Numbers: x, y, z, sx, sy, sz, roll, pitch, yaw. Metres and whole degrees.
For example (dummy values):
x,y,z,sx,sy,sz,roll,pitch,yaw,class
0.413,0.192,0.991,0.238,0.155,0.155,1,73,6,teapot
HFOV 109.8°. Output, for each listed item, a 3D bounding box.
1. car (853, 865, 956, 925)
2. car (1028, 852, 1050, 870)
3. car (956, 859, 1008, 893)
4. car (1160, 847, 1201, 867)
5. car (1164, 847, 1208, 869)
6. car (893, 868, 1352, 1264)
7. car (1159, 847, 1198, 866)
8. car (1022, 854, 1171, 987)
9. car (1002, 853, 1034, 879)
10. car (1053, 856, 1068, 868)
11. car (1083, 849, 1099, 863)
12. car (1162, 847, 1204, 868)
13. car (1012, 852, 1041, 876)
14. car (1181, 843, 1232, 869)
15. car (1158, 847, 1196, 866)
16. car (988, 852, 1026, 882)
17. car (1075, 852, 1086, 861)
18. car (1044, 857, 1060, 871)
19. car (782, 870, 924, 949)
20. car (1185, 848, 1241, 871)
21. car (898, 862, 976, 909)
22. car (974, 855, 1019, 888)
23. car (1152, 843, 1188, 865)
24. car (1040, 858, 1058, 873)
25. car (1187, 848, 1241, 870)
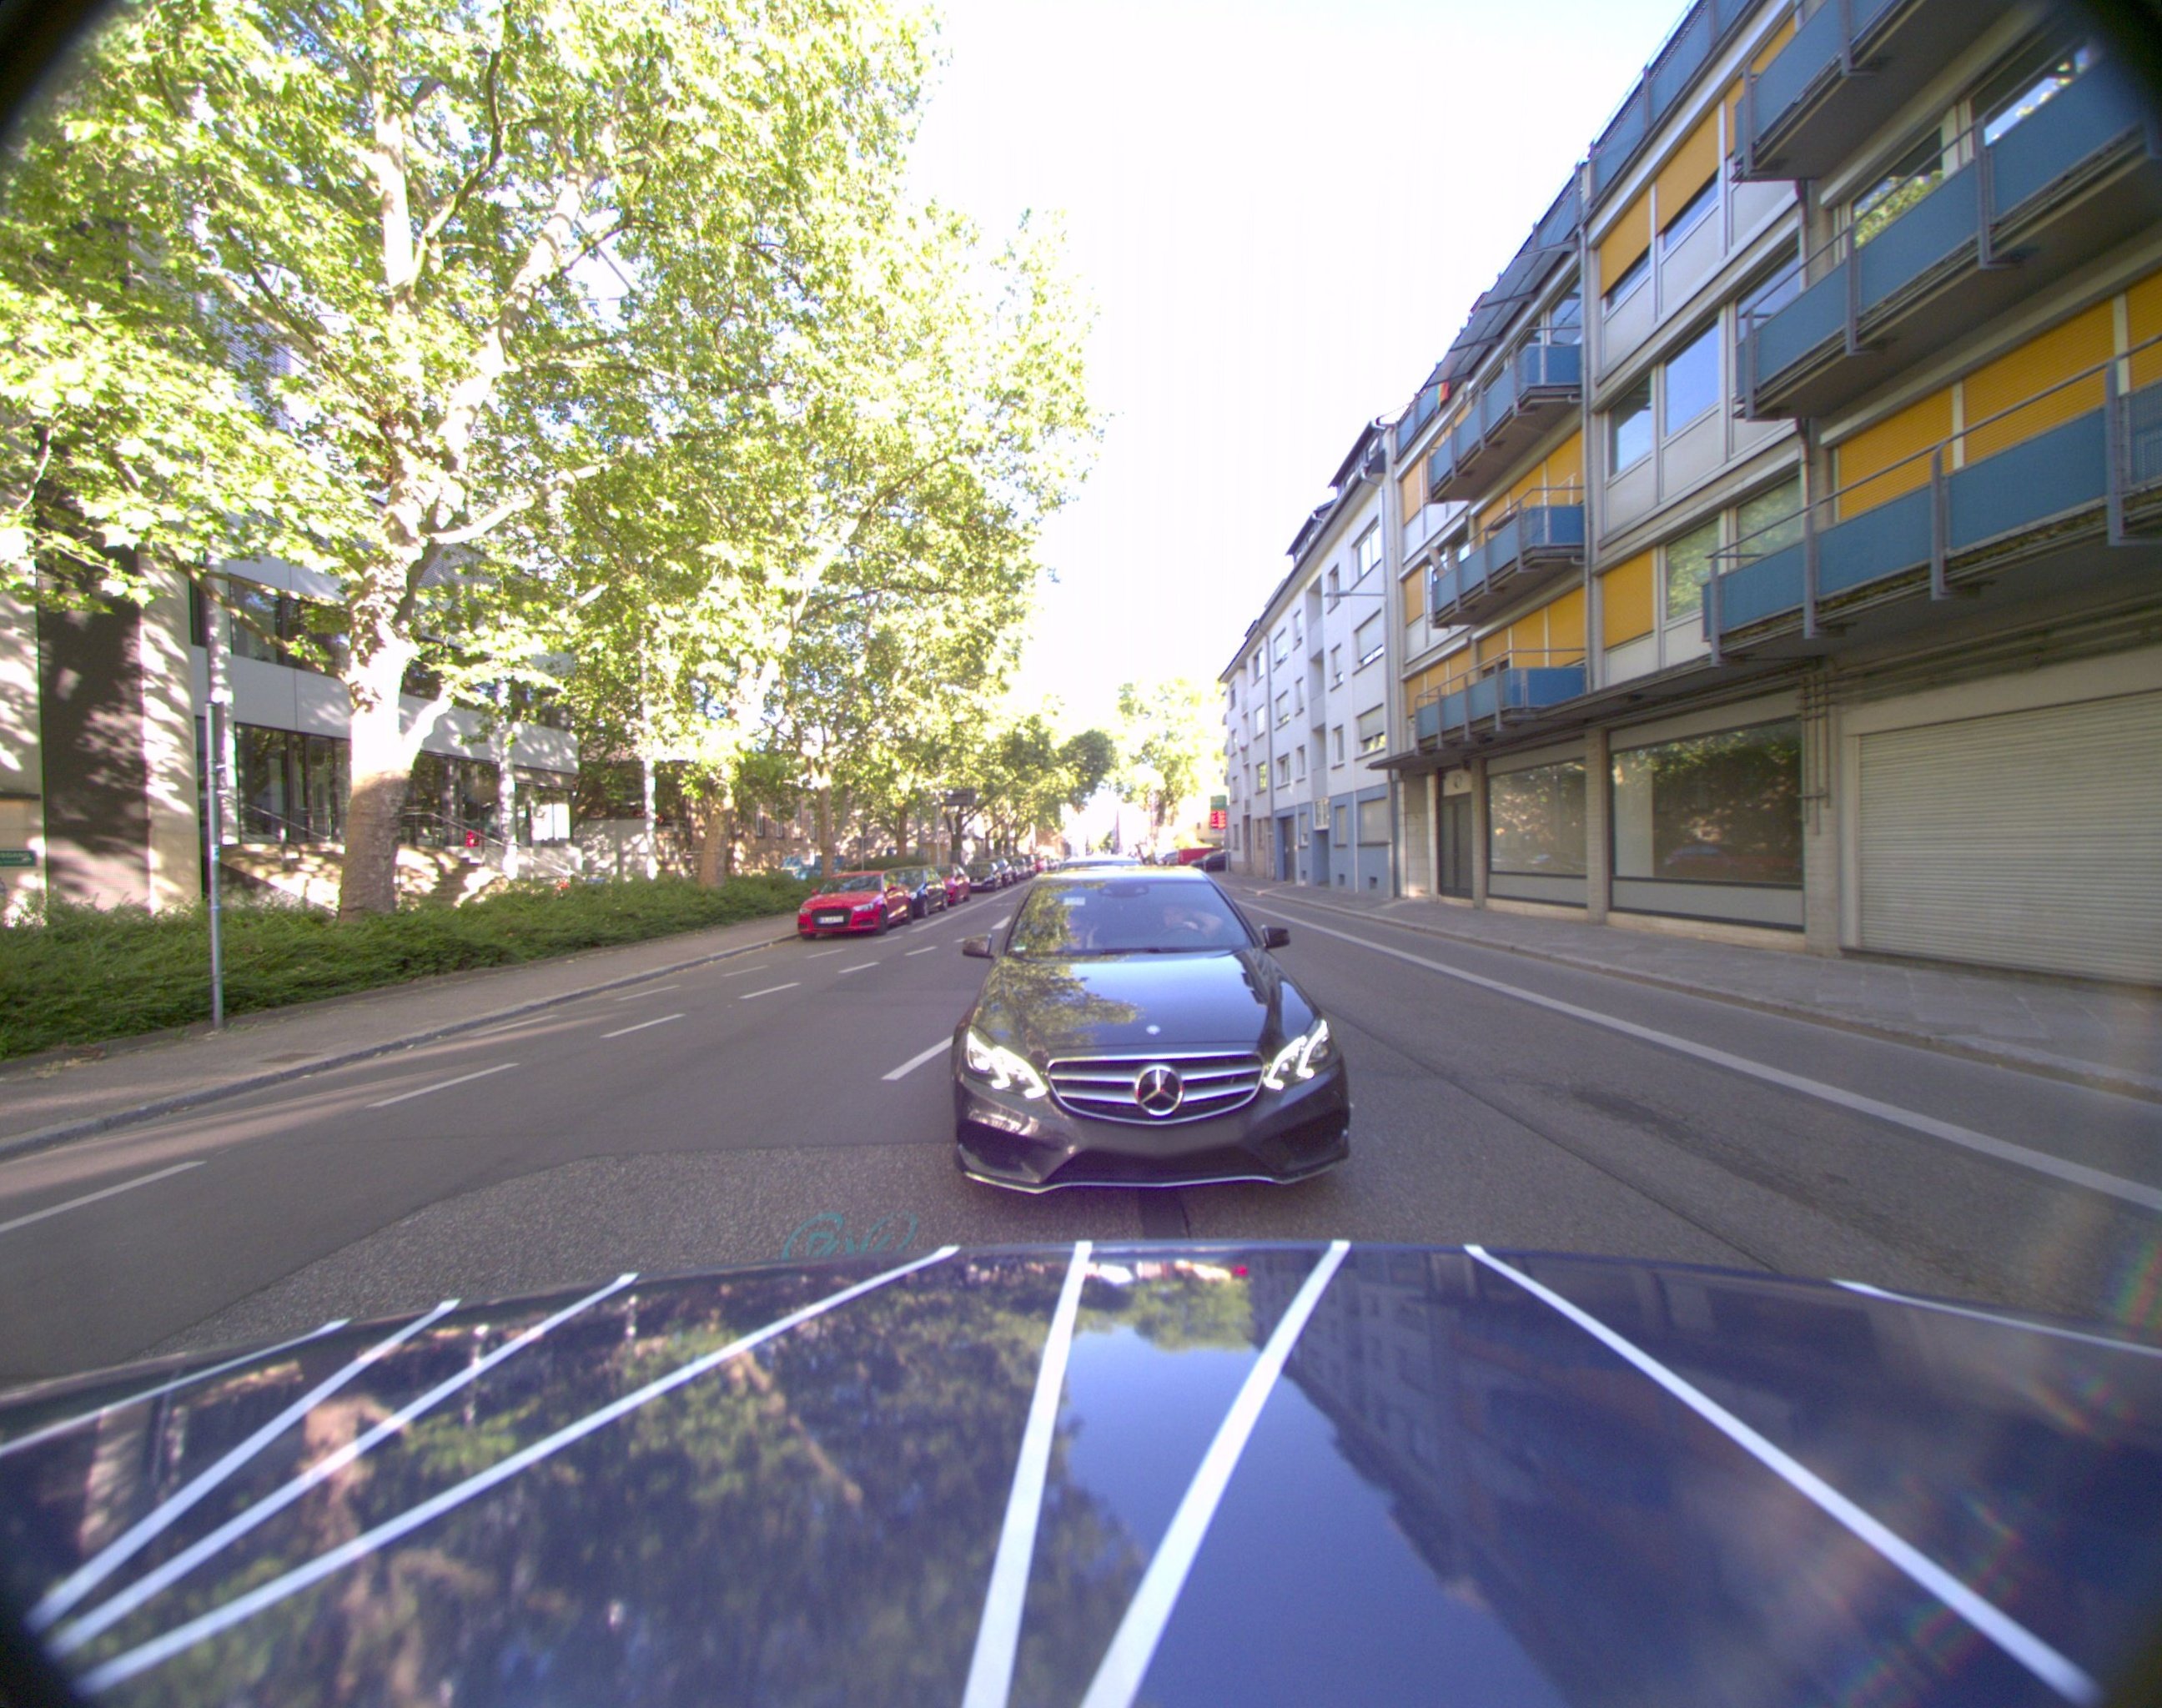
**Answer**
x,y,z,sx,sy,sz,roll,pitch,yaw,class
-5.046,1.122,22.380,1.866,1.442,4.481,-2,0,1,car
-4.204,0.699,76.277,1.866,1.632,4.481,-2,0,1,car
-4.759,1.021,37.171,1.866,1.442,4.481,-2,0,1,car
10.454,0.301,79.997,3.996,1.936,2.000,-2,1,2,car
10.242,0.371,74.504,3.996,1.936,2.000,-2,1,2,car
0.203,0.932,5.406,1.866,1.492,4.481,-2,0,1,car
10.584,0.268,82.485,3.996,1.936,2.000,-2,1,2,car
0.223,0.857,11.929,1.866,1.630,4.303,-2,0,1,car
-4.507,0.814,54.799,1.866,1.749,4.481,-2,0,1,car
-2.830,1.104,105.189,1.866,1.632,4.481,-2,0,1,car
1.248,0.256,95.866,1.866,1.632,4.481,-2,0,1,car
10.326,0.338,77.146,3.996,1.936,2.000,-2,1,2,car
-4.250,0.751,59.754,1.866,1.749,4.481,-2,0,1,car
10.543,0.149,64.023,3.996,1.936,2.000,-2,1,2,car
10.729,0.235,84.979,3.996,1.936,2.000,-2,1,2,car
-4.637,0.780,48.132,1.866,1.749,4.481,-2,0,1,car
-0.005,0.409,138.008,1.866,1.632,4.481,-2,0,1,car
-3.662,1.229,96.782,1.866,1.632,4.481,-2,0,1,car
-5.106,1.176,17.729,1.866,1.442,4.481,-2,0,1,car
10.170,0.418,58.870,3.996,1.543,2.000,-2,1,2,car
-5.090,1.063,27.424,1.866,1.442,4.481,-2,0,1,car
-4.624,0.904,42.205,1.866,1.658,4.481,-2,0,1,car
10.483,-0.004,89.506,3.996,2.505,2.000,-2,1,2,car
-3.771,1.314,89.983,1.866,1.632,4.481,-2,0,1,car
10.711,0.372,61.192,3.996,1.543,2.000,-2,1,2,car
